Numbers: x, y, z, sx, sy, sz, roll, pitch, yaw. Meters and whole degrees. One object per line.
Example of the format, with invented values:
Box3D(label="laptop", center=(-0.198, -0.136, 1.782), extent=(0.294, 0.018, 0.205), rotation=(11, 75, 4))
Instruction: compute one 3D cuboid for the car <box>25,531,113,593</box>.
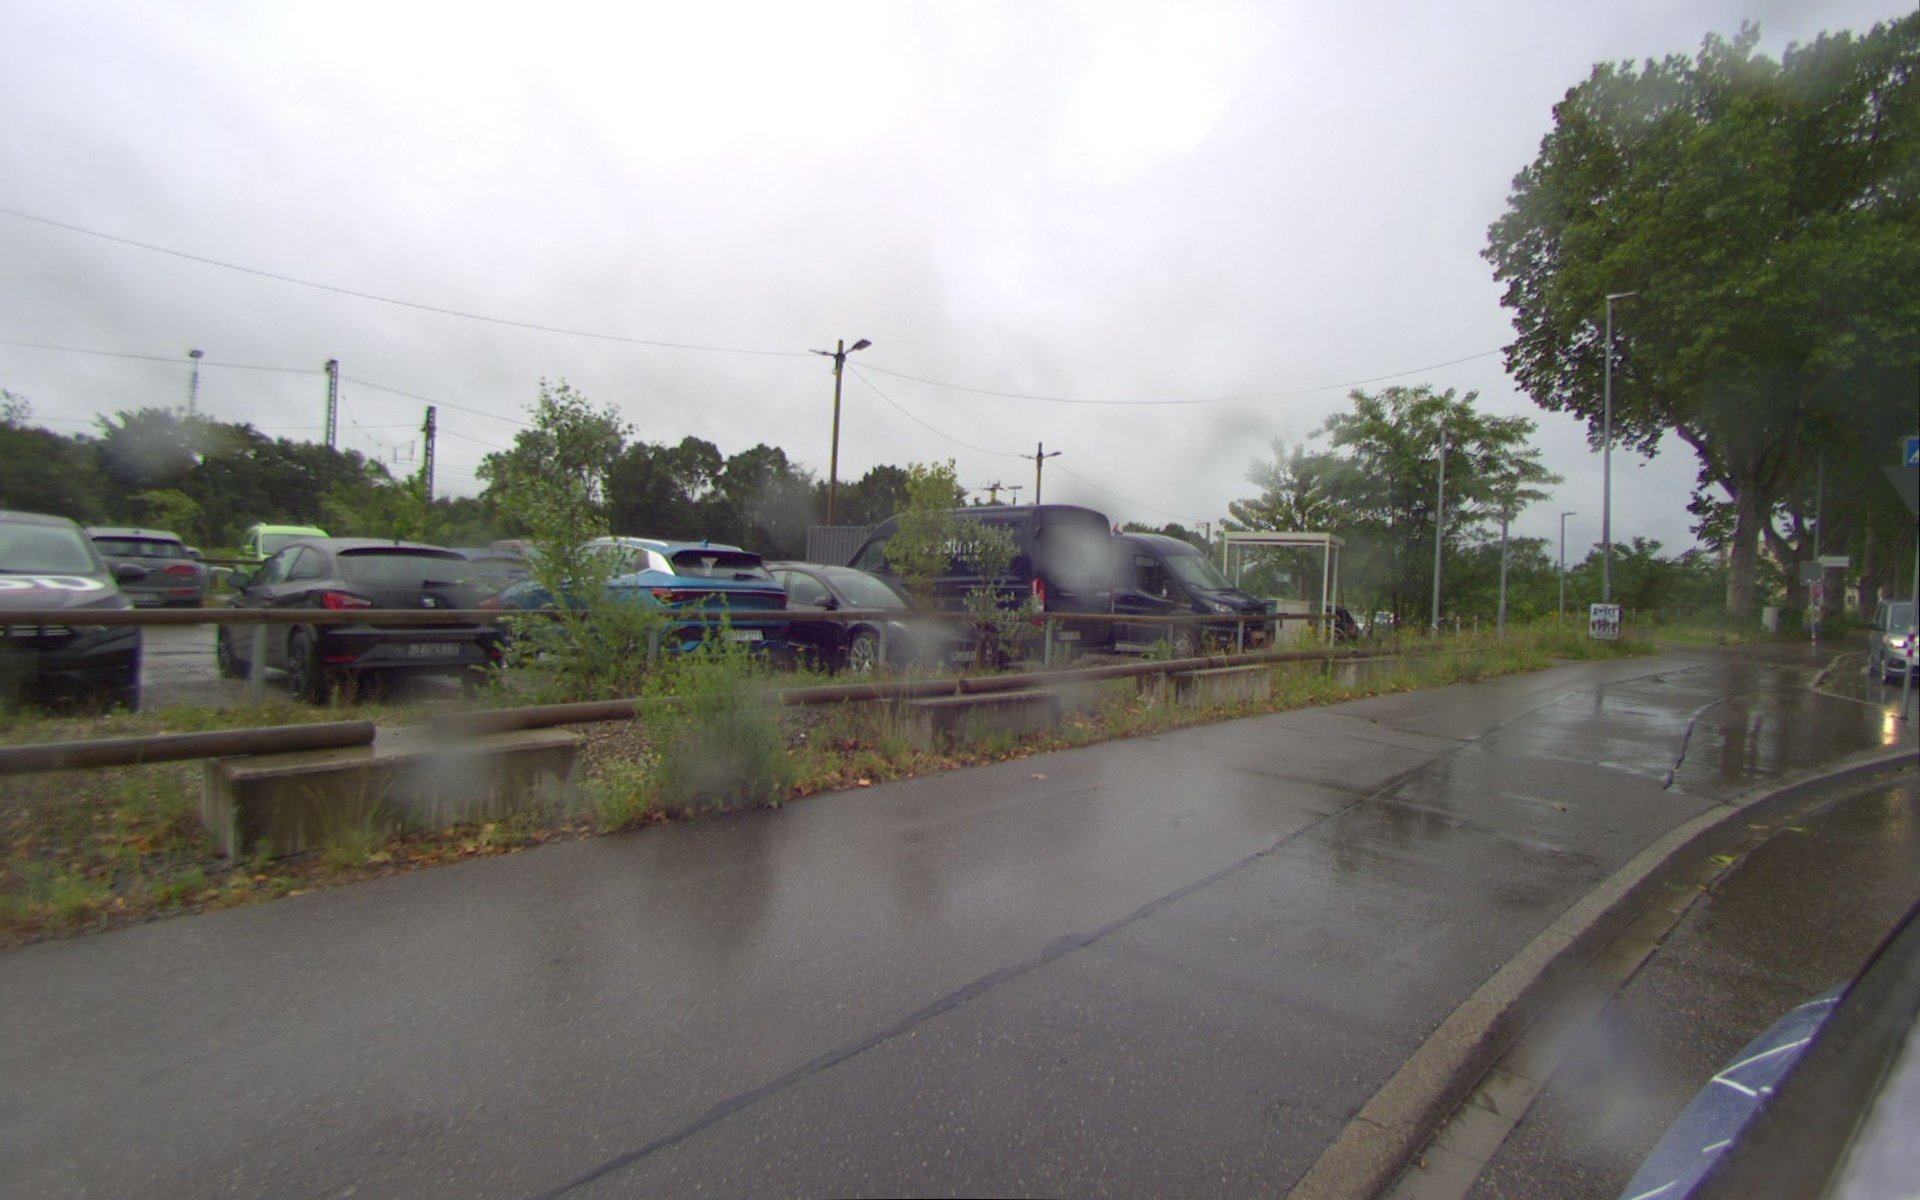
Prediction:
Box3D(label="car", center=(-25.299, -1.068, 28.691), extent=(1.664, 1.605, 4.166), rotation=(1, 1, -44))

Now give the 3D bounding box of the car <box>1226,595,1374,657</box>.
Box3D(label="car", center=(9.969, 0.711, 29.715), extent=(3.954, 1.521, 1.862), rotation=(3, 1, 22))

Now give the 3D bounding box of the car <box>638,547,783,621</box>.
Box3D(label="car", center=(-6.253, -0.438, 25.096), extent=(1.777, 1.555, 3.959), rotation=(0, 4, -43))

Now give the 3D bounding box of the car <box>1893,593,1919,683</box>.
Box3D(label="car", center=(20.498, 0.777, 20.768), extent=(1.835, 1.745, 4.105), rotation=(3, 2, 44))

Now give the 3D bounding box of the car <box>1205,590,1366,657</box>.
Box3D(label="car", center=(8.718, 0.580, 27.154), extent=(3.954, 1.508, 1.692), rotation=(3, 1, 22))

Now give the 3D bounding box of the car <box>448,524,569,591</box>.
Box3D(label="car", center=(-12.367, -1.156, 27.601), extent=(1.736, 1.660, 3.991), rotation=(1, 2, -44))

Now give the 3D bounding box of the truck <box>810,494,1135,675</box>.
Box3D(label="truck", center=(0.048, -0.272, 16.087), extent=(5.031, 2.433, 2.078), rotation=(2, 1, 43))

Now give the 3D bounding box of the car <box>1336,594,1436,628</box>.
Box3D(label="car", center=(21.558, 0.512, 51.286), extent=(4.366, 1.447, 1.854), rotation=(4, 2, 33))

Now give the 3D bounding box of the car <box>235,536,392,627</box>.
Box3D(label="car", center=(-12.146, -0.399, 18.917), extent=(1.790, 1.444, 3.959), rotation=(0, 4, -43))

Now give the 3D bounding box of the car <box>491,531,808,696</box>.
Box3D(label="car", center=(-3.752, 0.074, 11.899), extent=(3.894, 1.614, 1.868), rotation=(2, 1, 43))

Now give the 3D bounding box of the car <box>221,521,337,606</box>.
Box3D(label="car", center=(-16.032, -0.856, 23.732), extent=(1.765, 1.822, 3.995), rotation=(1, 1, -41))

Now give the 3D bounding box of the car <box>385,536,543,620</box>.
Box3D(label="car", center=(-10.575, -0.513, 21.439), extent=(1.893, 1.508, 4.072), rotation=(0, 4, -43))

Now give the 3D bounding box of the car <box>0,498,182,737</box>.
Box3D(label="car", center=(-7.188, 0.050, 7.401), extent=(3.894, 1.440, 1.752), rotation=(2, 2, 43))

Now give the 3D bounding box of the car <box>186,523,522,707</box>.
Box3D(label="car", center=(-5.939, 0.053, 9.734), extent=(3.894, 1.412, 1.752), rotation=(2, 2, 43))

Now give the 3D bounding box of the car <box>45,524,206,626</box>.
Box3D(label="car", center=(-14.008, -0.482, 16.912), extent=(1.855, 1.444, 3.959), rotation=(0, 4, -43))

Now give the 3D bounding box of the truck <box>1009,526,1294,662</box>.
Box3D(label="truck", center=(3.654, -0.171, 20.184), extent=(2.041, 2.352, 5.332), rotation=(1, 1, -45))

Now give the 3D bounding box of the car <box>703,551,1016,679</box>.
Box3D(label="car", center=(-1.441, 0.109, 13.446), extent=(4.158, 1.438, 1.835), rotation=(2, 2, 42))
